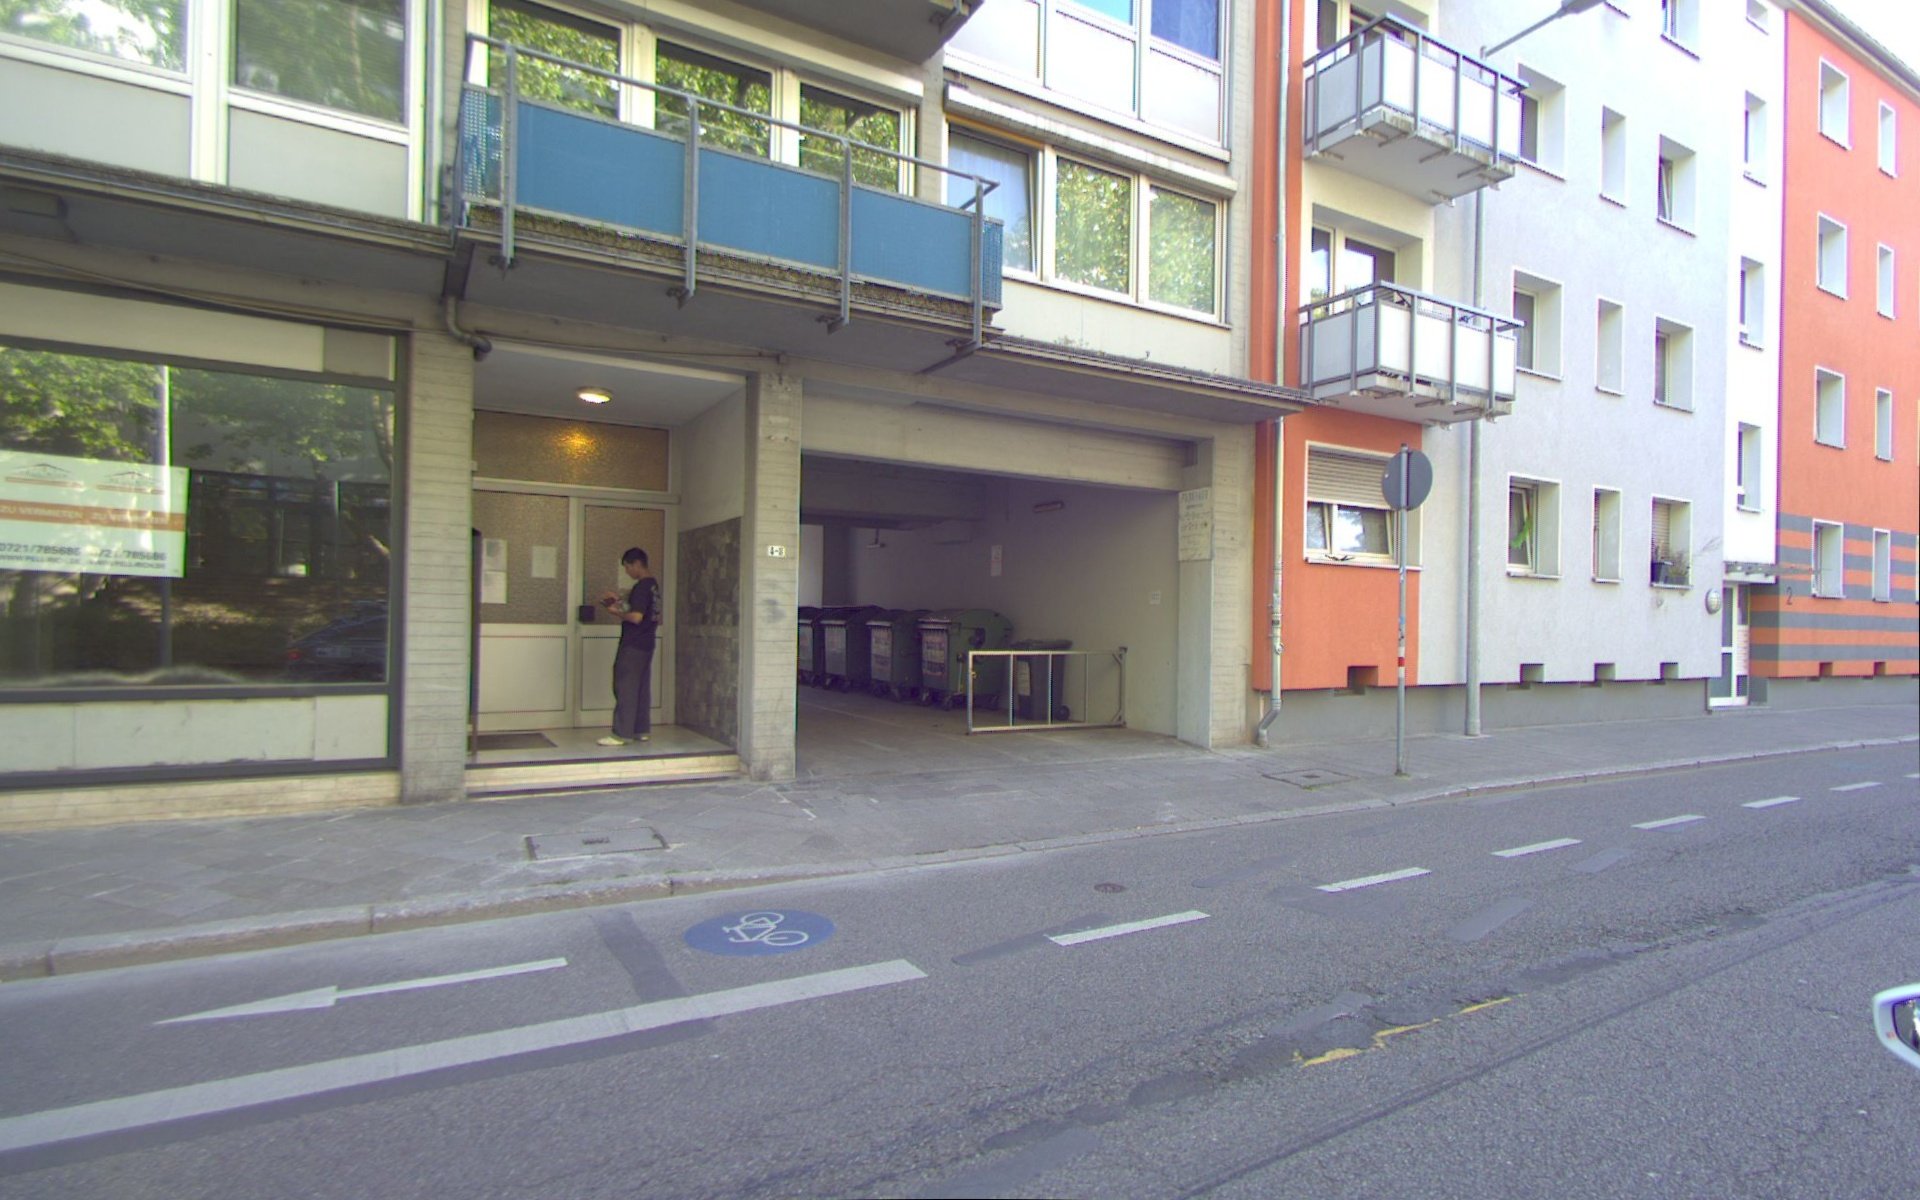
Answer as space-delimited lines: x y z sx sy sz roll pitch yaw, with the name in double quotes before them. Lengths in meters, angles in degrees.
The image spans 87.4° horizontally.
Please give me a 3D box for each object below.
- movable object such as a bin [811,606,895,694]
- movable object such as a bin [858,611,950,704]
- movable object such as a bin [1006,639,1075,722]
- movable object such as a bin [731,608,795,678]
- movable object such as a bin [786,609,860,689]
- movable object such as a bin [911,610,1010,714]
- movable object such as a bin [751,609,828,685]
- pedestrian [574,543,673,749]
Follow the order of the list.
"movable object such as a bin" -1.888 0.854 17.594 1.011 1.462 1.318 1 -1 -29
"movable object such as a bin" -0.907 0.887 16.074 1.011 1.409 1.319 1 -1 -27
"movable object such as a bin" 1.070 1.055 13.413 0.704 1.054 0.583 1 0 -30
"movable object such as a bin" -4.140 0.887 21.042 1.010 1.409 1.246 1 -1 -26
"movable object such as a bin" -2.544 0.886 18.626 1.012 1.409 1.046 1 -1 -31
"movable object such as a bin" -0.012 0.874 14.760 1.009 1.438 1.321 1 -1 -23
"movable object such as a bin" -3.329 0.889 19.585 1.014 1.409 1.264 1 -1 -37
"pedestrian" -3.004 0.400 8.999 0.518 1.764 0.630 1 0 27
